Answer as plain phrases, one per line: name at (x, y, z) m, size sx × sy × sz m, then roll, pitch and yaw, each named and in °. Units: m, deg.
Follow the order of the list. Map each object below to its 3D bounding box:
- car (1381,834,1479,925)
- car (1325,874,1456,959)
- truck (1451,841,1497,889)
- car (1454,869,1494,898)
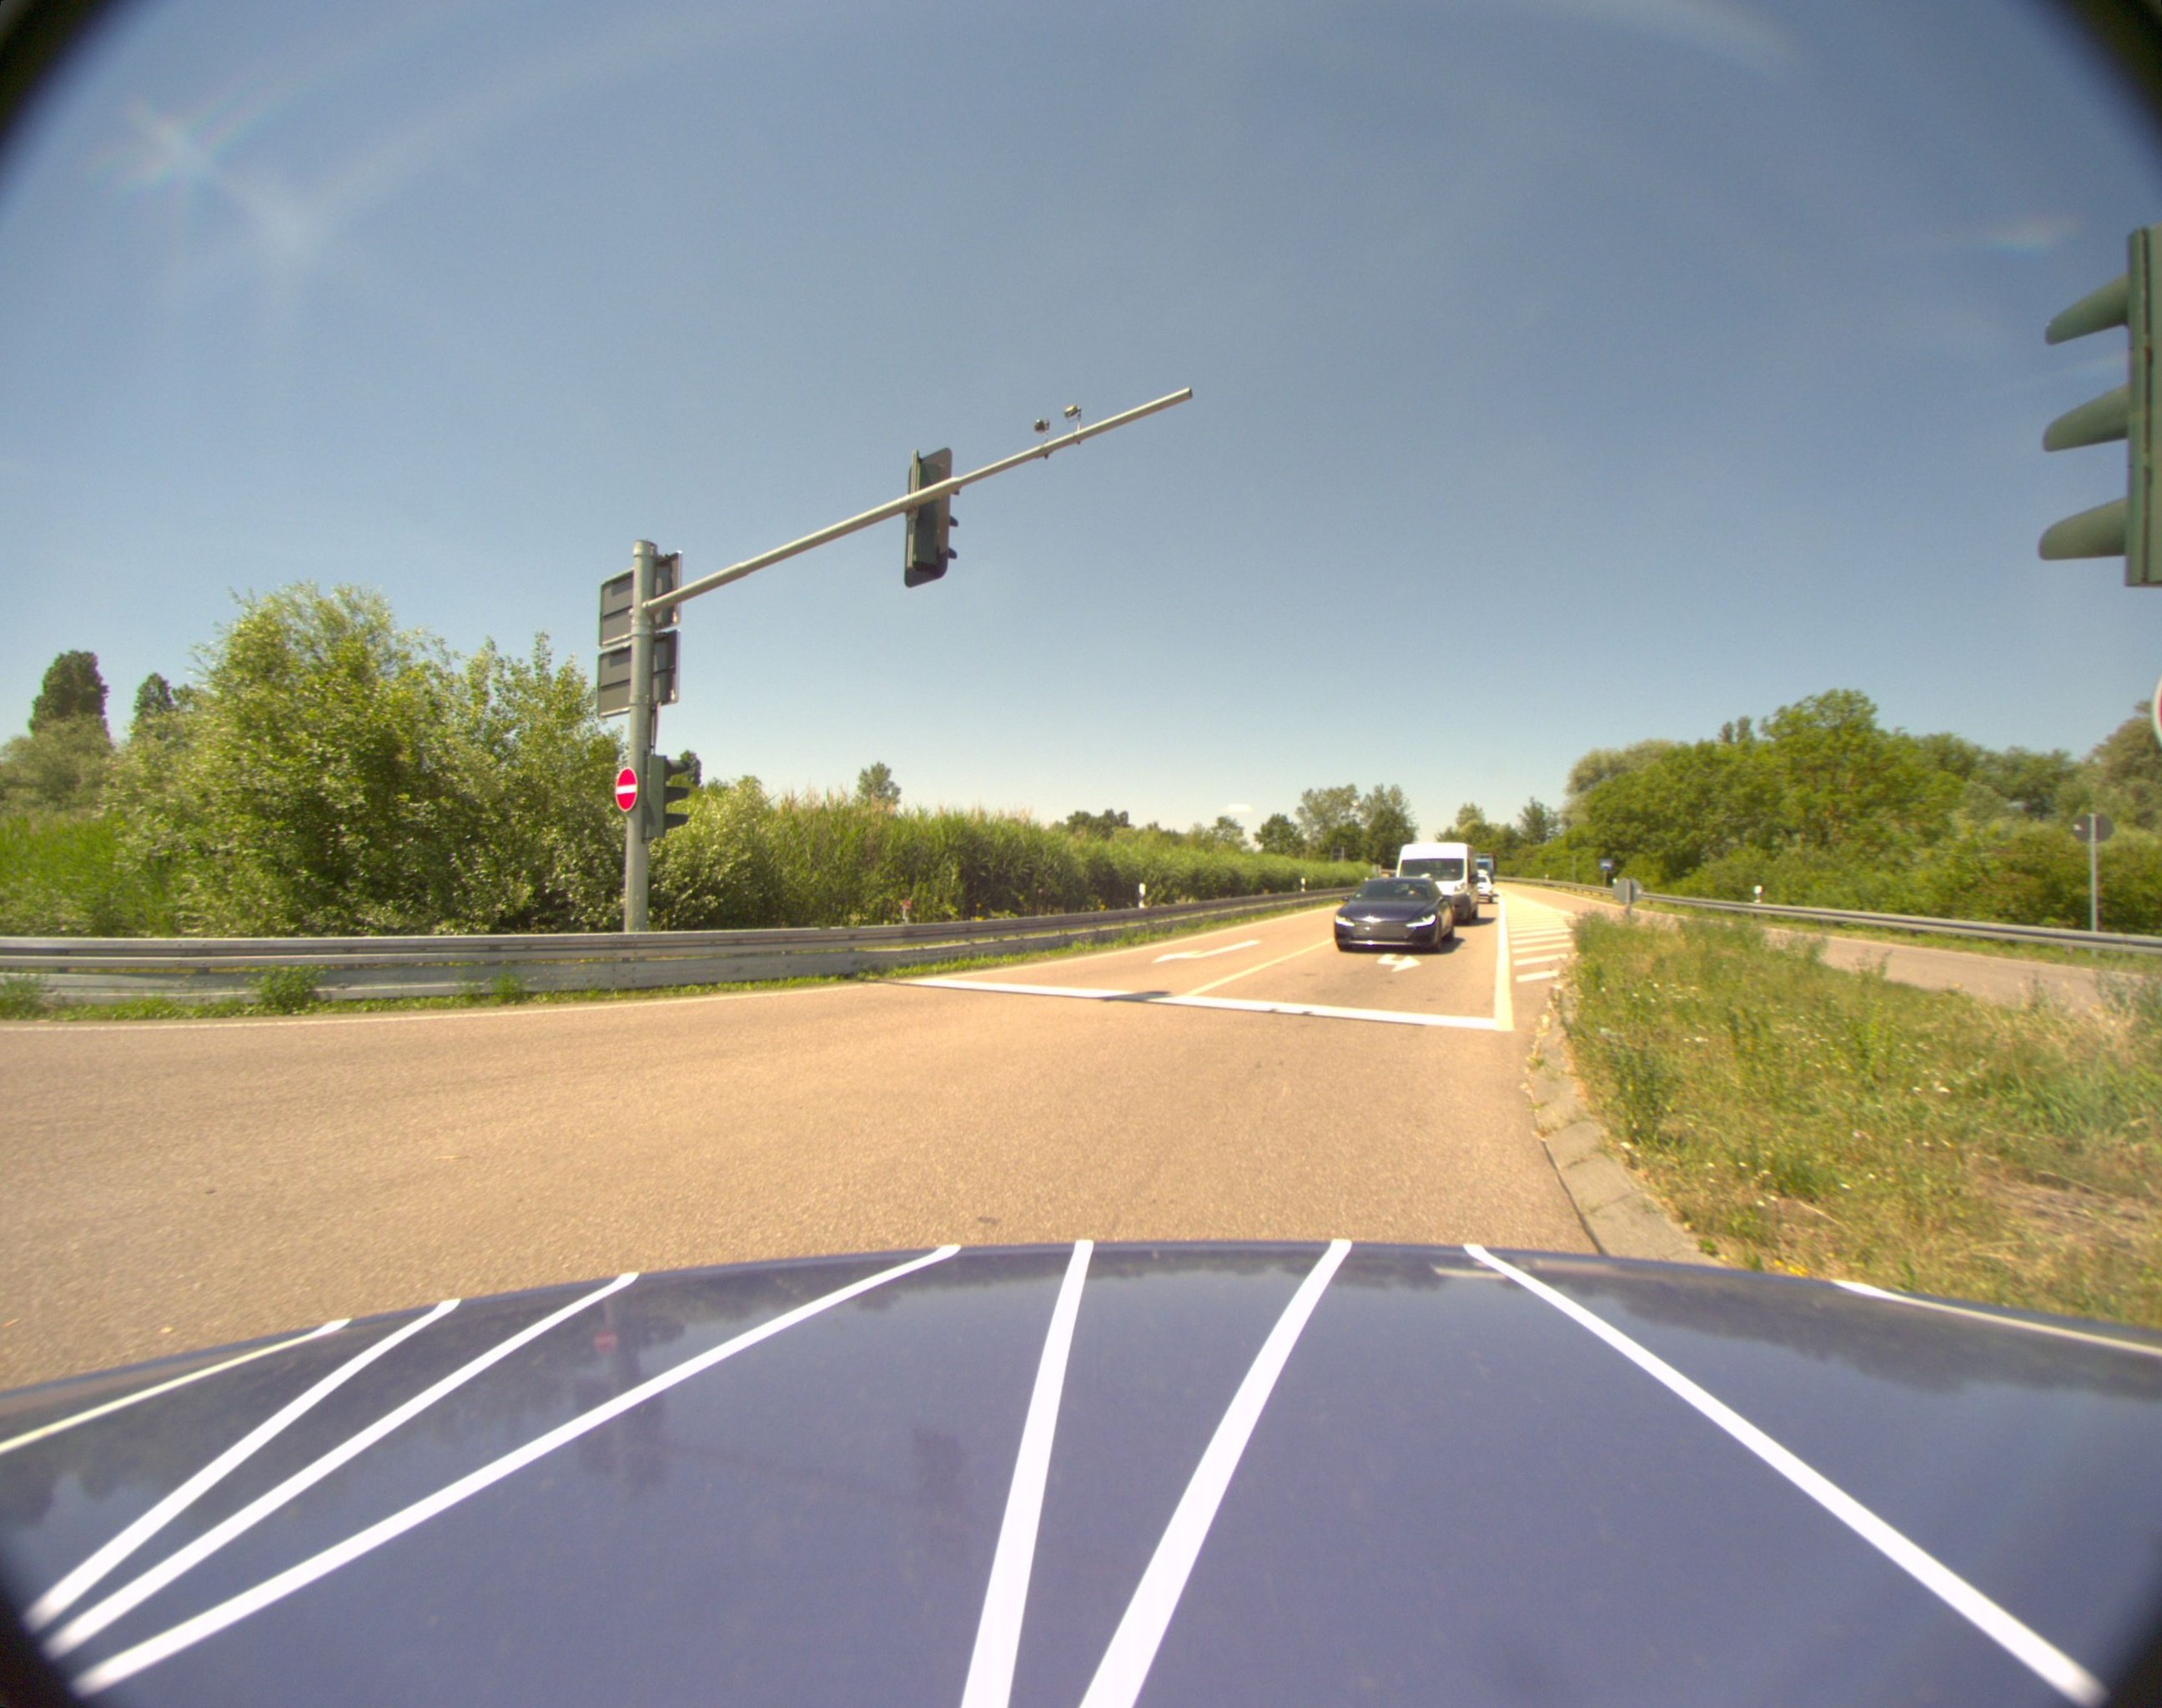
car at (11.058, 0.771, 23.781) m, size 2.224 × 2.480 × 5.995 m, roll -1°, pitch -2°, yaw 30°
car at (6.421, 1.134, 15.445) m, size 1.844 × 1.414 × 4.572 m, roll -1°, pitch -1°, yaw 30°
truck at (28.417, 0.818, 54.967) m, size 2.688 × 3.176 × 9.196 m, roll 1°, pitch -1°, yaw 27°
car at (21.167, 1.551, 40.892) m, size 1.717 × 1.427 × 3.968 m, roll 0°, pitch -1°, yaw 30°
